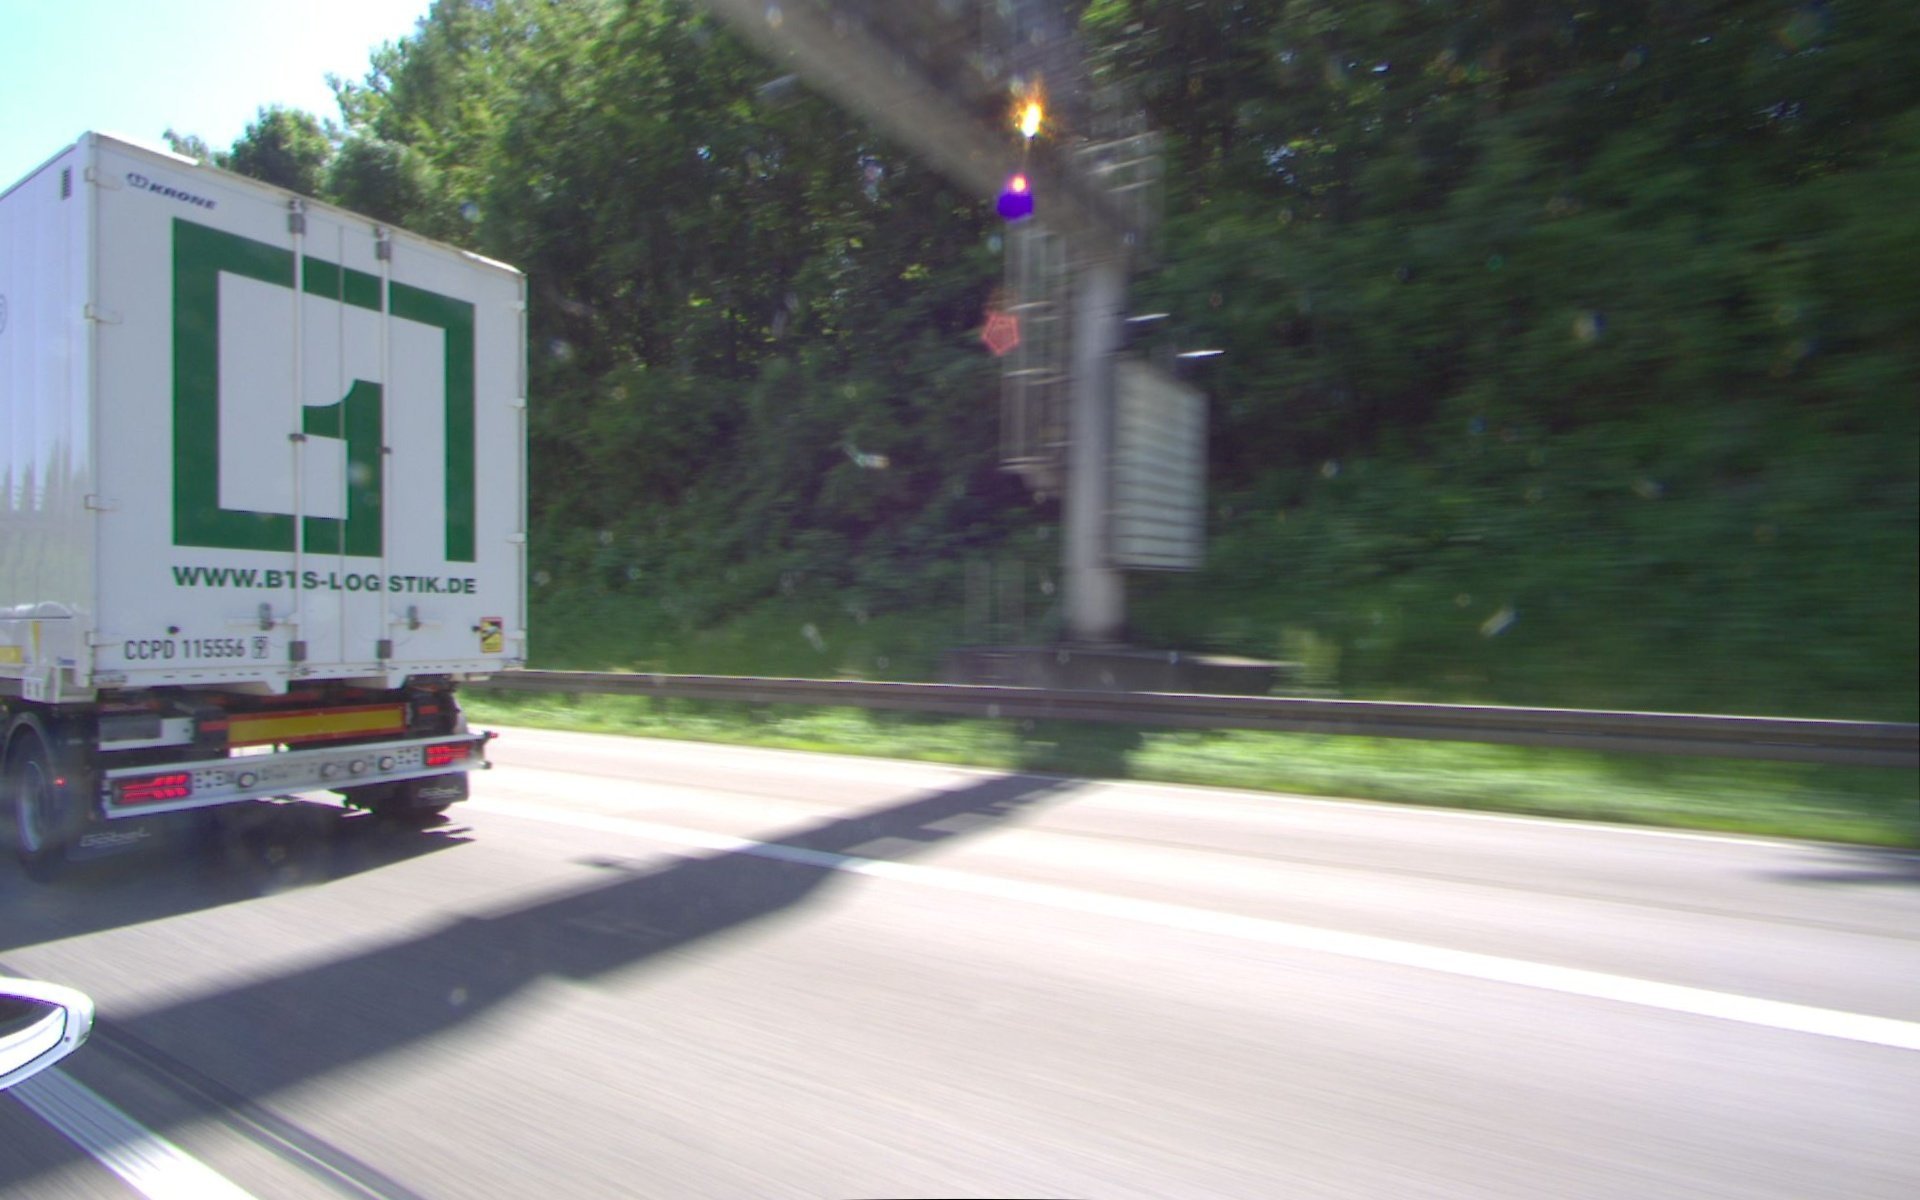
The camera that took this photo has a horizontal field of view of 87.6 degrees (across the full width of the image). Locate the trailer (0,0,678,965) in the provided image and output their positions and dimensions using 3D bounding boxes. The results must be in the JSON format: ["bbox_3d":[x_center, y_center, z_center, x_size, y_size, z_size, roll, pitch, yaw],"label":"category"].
[{"bbox_3d":[-6.749,-0.469,8.119,9.921,4.230,2.675,-1,-1,32],"label":"trailer"}]

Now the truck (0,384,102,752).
[{"bbox_3d":[-15.385,-0.315,13.671,10.474,4.112,2.675,-1,-1,33],"label":"truck"}]
